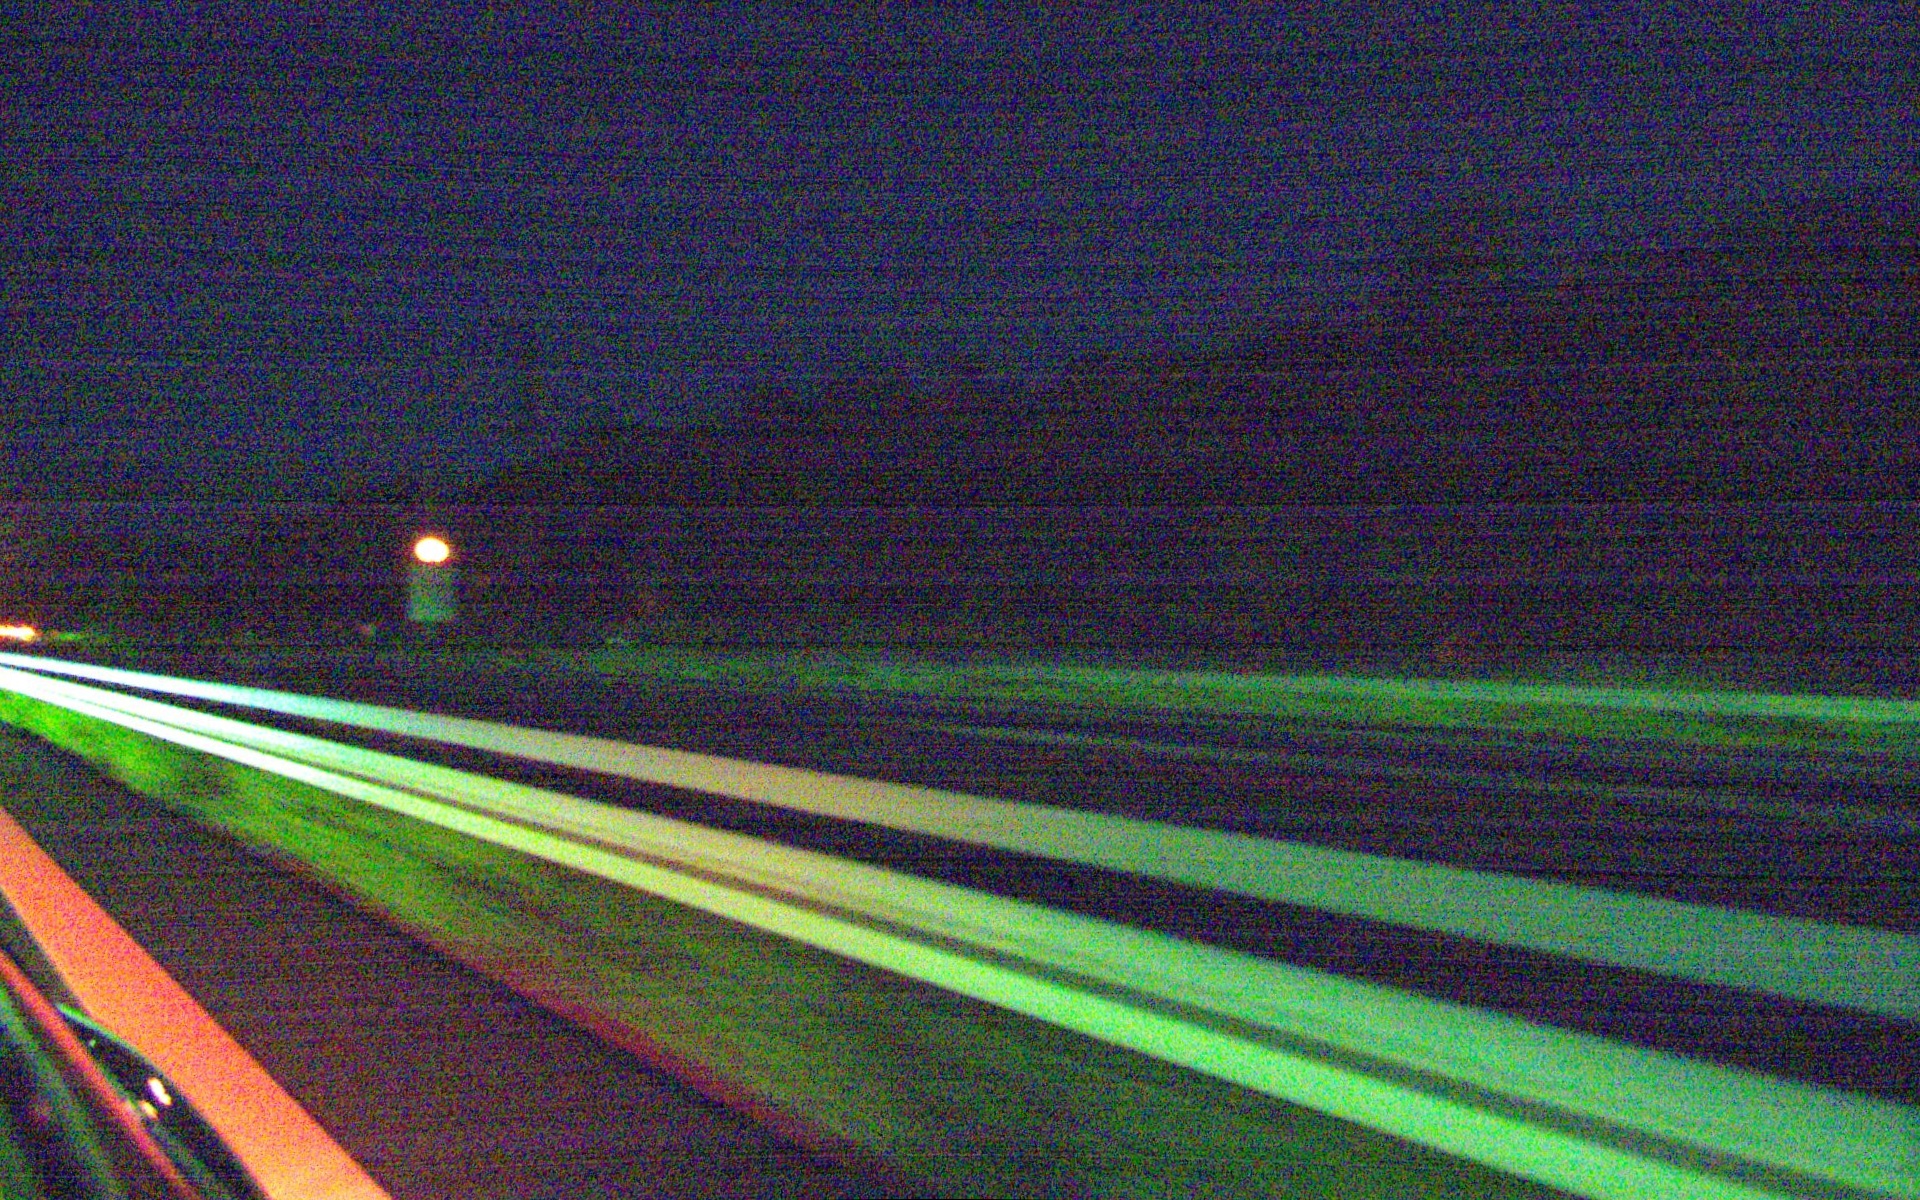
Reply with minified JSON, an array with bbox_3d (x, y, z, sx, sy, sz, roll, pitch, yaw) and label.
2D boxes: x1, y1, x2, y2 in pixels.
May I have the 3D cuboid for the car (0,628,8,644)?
[{"bbox_3d":[-95.579,3.488,99.743,5.002,1.563,1.973,-1,-5,41],"label":"car"}]
